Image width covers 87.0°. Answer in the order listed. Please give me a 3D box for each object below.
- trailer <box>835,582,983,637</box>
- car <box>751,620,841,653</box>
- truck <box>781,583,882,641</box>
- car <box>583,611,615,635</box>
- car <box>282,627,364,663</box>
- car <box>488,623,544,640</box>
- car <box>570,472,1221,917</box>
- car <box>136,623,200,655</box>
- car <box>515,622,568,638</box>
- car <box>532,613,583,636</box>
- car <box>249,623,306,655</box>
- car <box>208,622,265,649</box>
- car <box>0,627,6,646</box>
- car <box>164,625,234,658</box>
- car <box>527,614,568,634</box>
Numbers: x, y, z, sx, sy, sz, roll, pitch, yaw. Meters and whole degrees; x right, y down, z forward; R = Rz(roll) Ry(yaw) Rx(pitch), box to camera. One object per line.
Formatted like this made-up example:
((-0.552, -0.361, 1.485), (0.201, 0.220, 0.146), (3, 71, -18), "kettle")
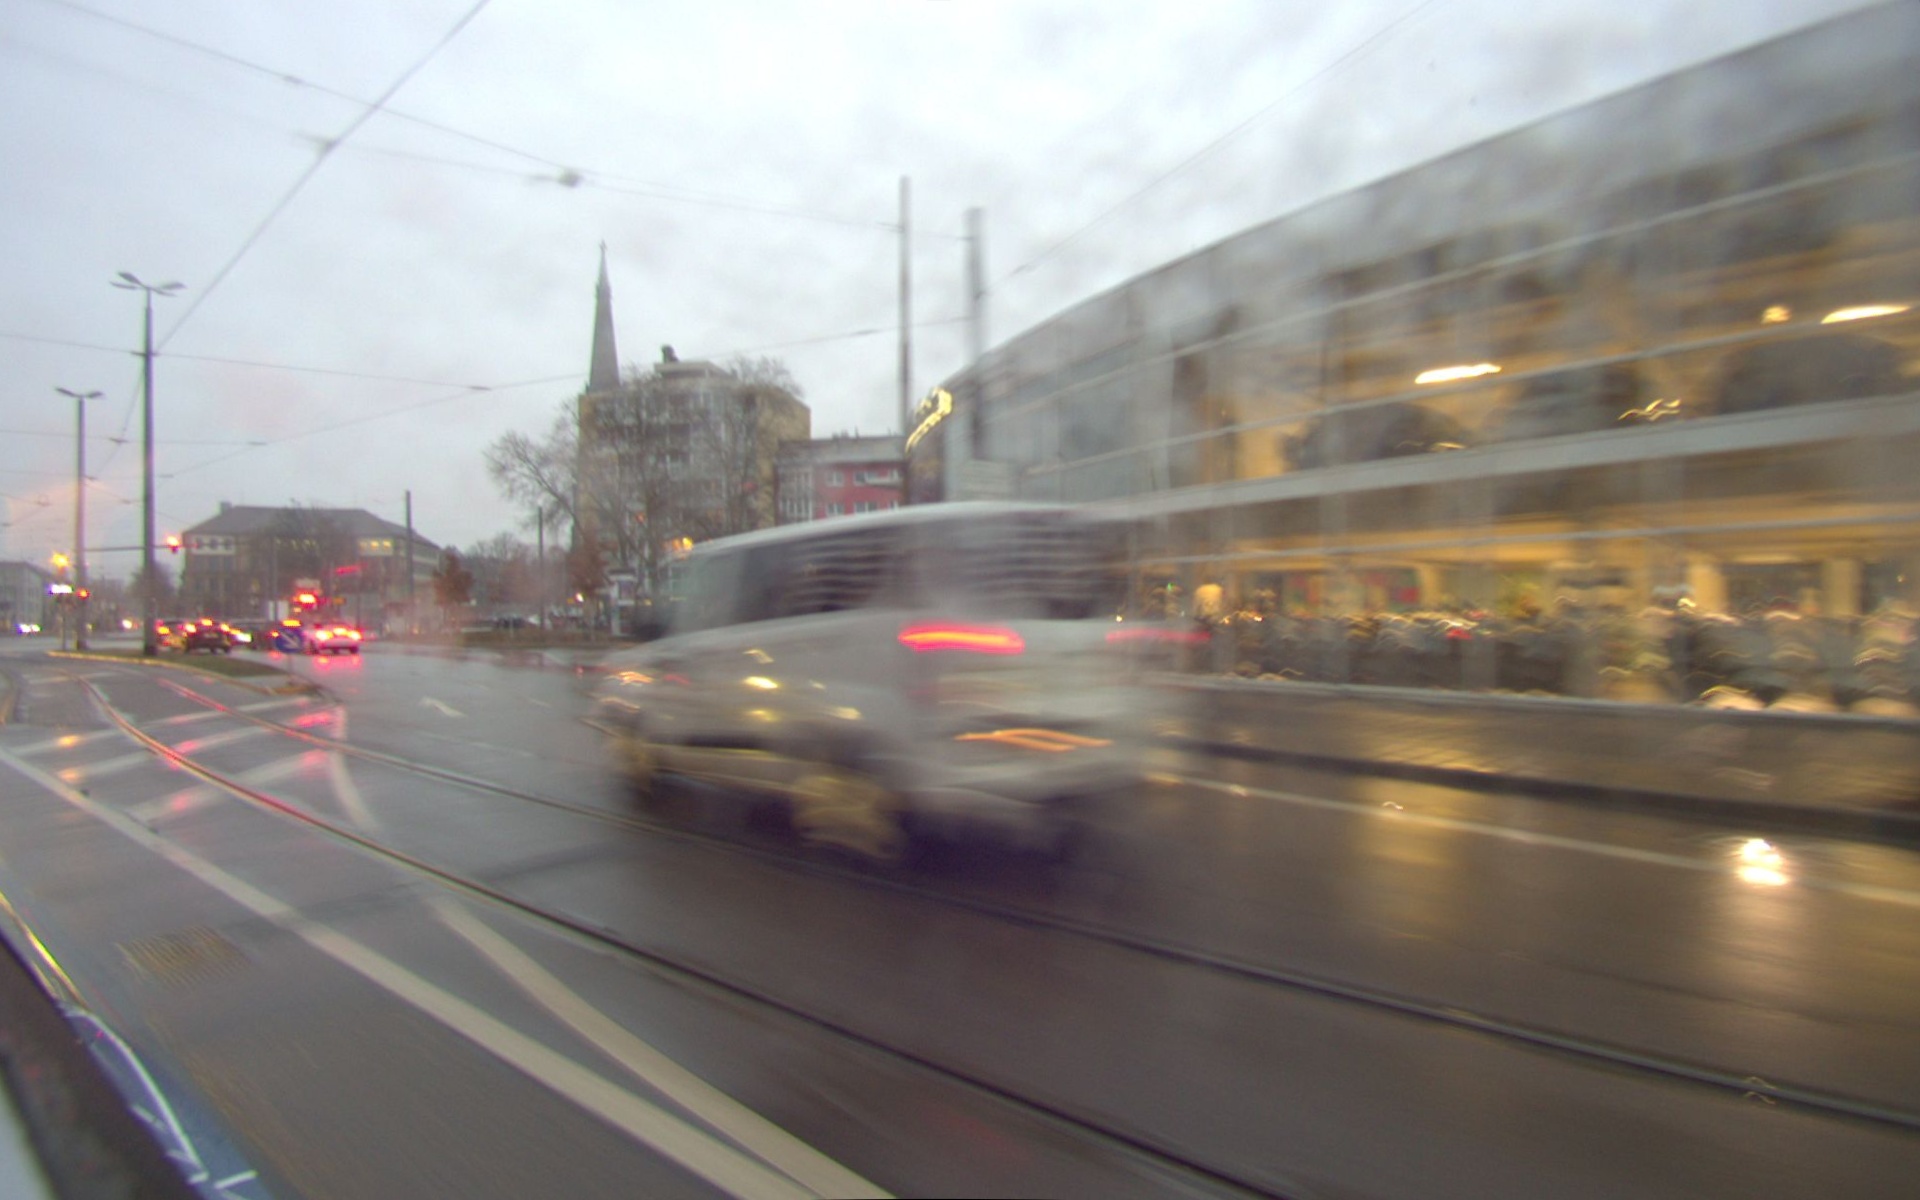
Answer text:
((-3.183, 0.519, 71.205), (2.626, 3.443, 14.902), (-1, 0, 30), "trailer")
((-8.366, 1.835, 51.969), (1.992, 1.508, 4.761), (-1, 0, 30), "car")
((-7.917, 0.672, 63.158), (2.648, 3.443, 6.686), (-1, 0, 30), "truck")
((-33.178, 2.083, 93.142), (1.968, 2.029, 4.007), (-1, 0, -8), "car")
((-28.059, 1.940, 44.539), (4.588, 1.432, 1.972), (-1, 0, 43), "car")
((-38.335, 2.742, 87.368), (3.948, 1.320, 1.998), (-1, 0, 4), "car")
((-0.785, 0.437, 7.013), (1.970, 2.029, 4.690), (-1, 0, -43), "car")
((-39.636, 1.917, 50.601), (3.999, 1.497, 1.879), (-1, 0, 42), "car")
((-37.936, 2.721, 91.819), (3.948, 1.320, 1.998), (-1, 0, 4), "car")
((-37.771, 2.267, 95.040), (3.948, 2.029, 1.998), (-1, 0, 4), "car")
((-33.202, 1.875, 49.213), (3.471, 1.429, 1.583), (-1, 0, 43), "car")
((-38.952, 1.901, 54.436), (3.999, 1.368, 1.706), (-1, 0, 42), "car")
((-81.920, 3.125, 84.962), (1.966, 1.563, 4.011), (-1, 0, -33), "car")
((-34.472, 1.858, 45.832), (4.000, 1.401, 1.851), (-1, -2, 43), "car")
((-44.008, 2.531, 107.926), (3.931, 2.029, 2.007), (-1, 0, -24), "car")
